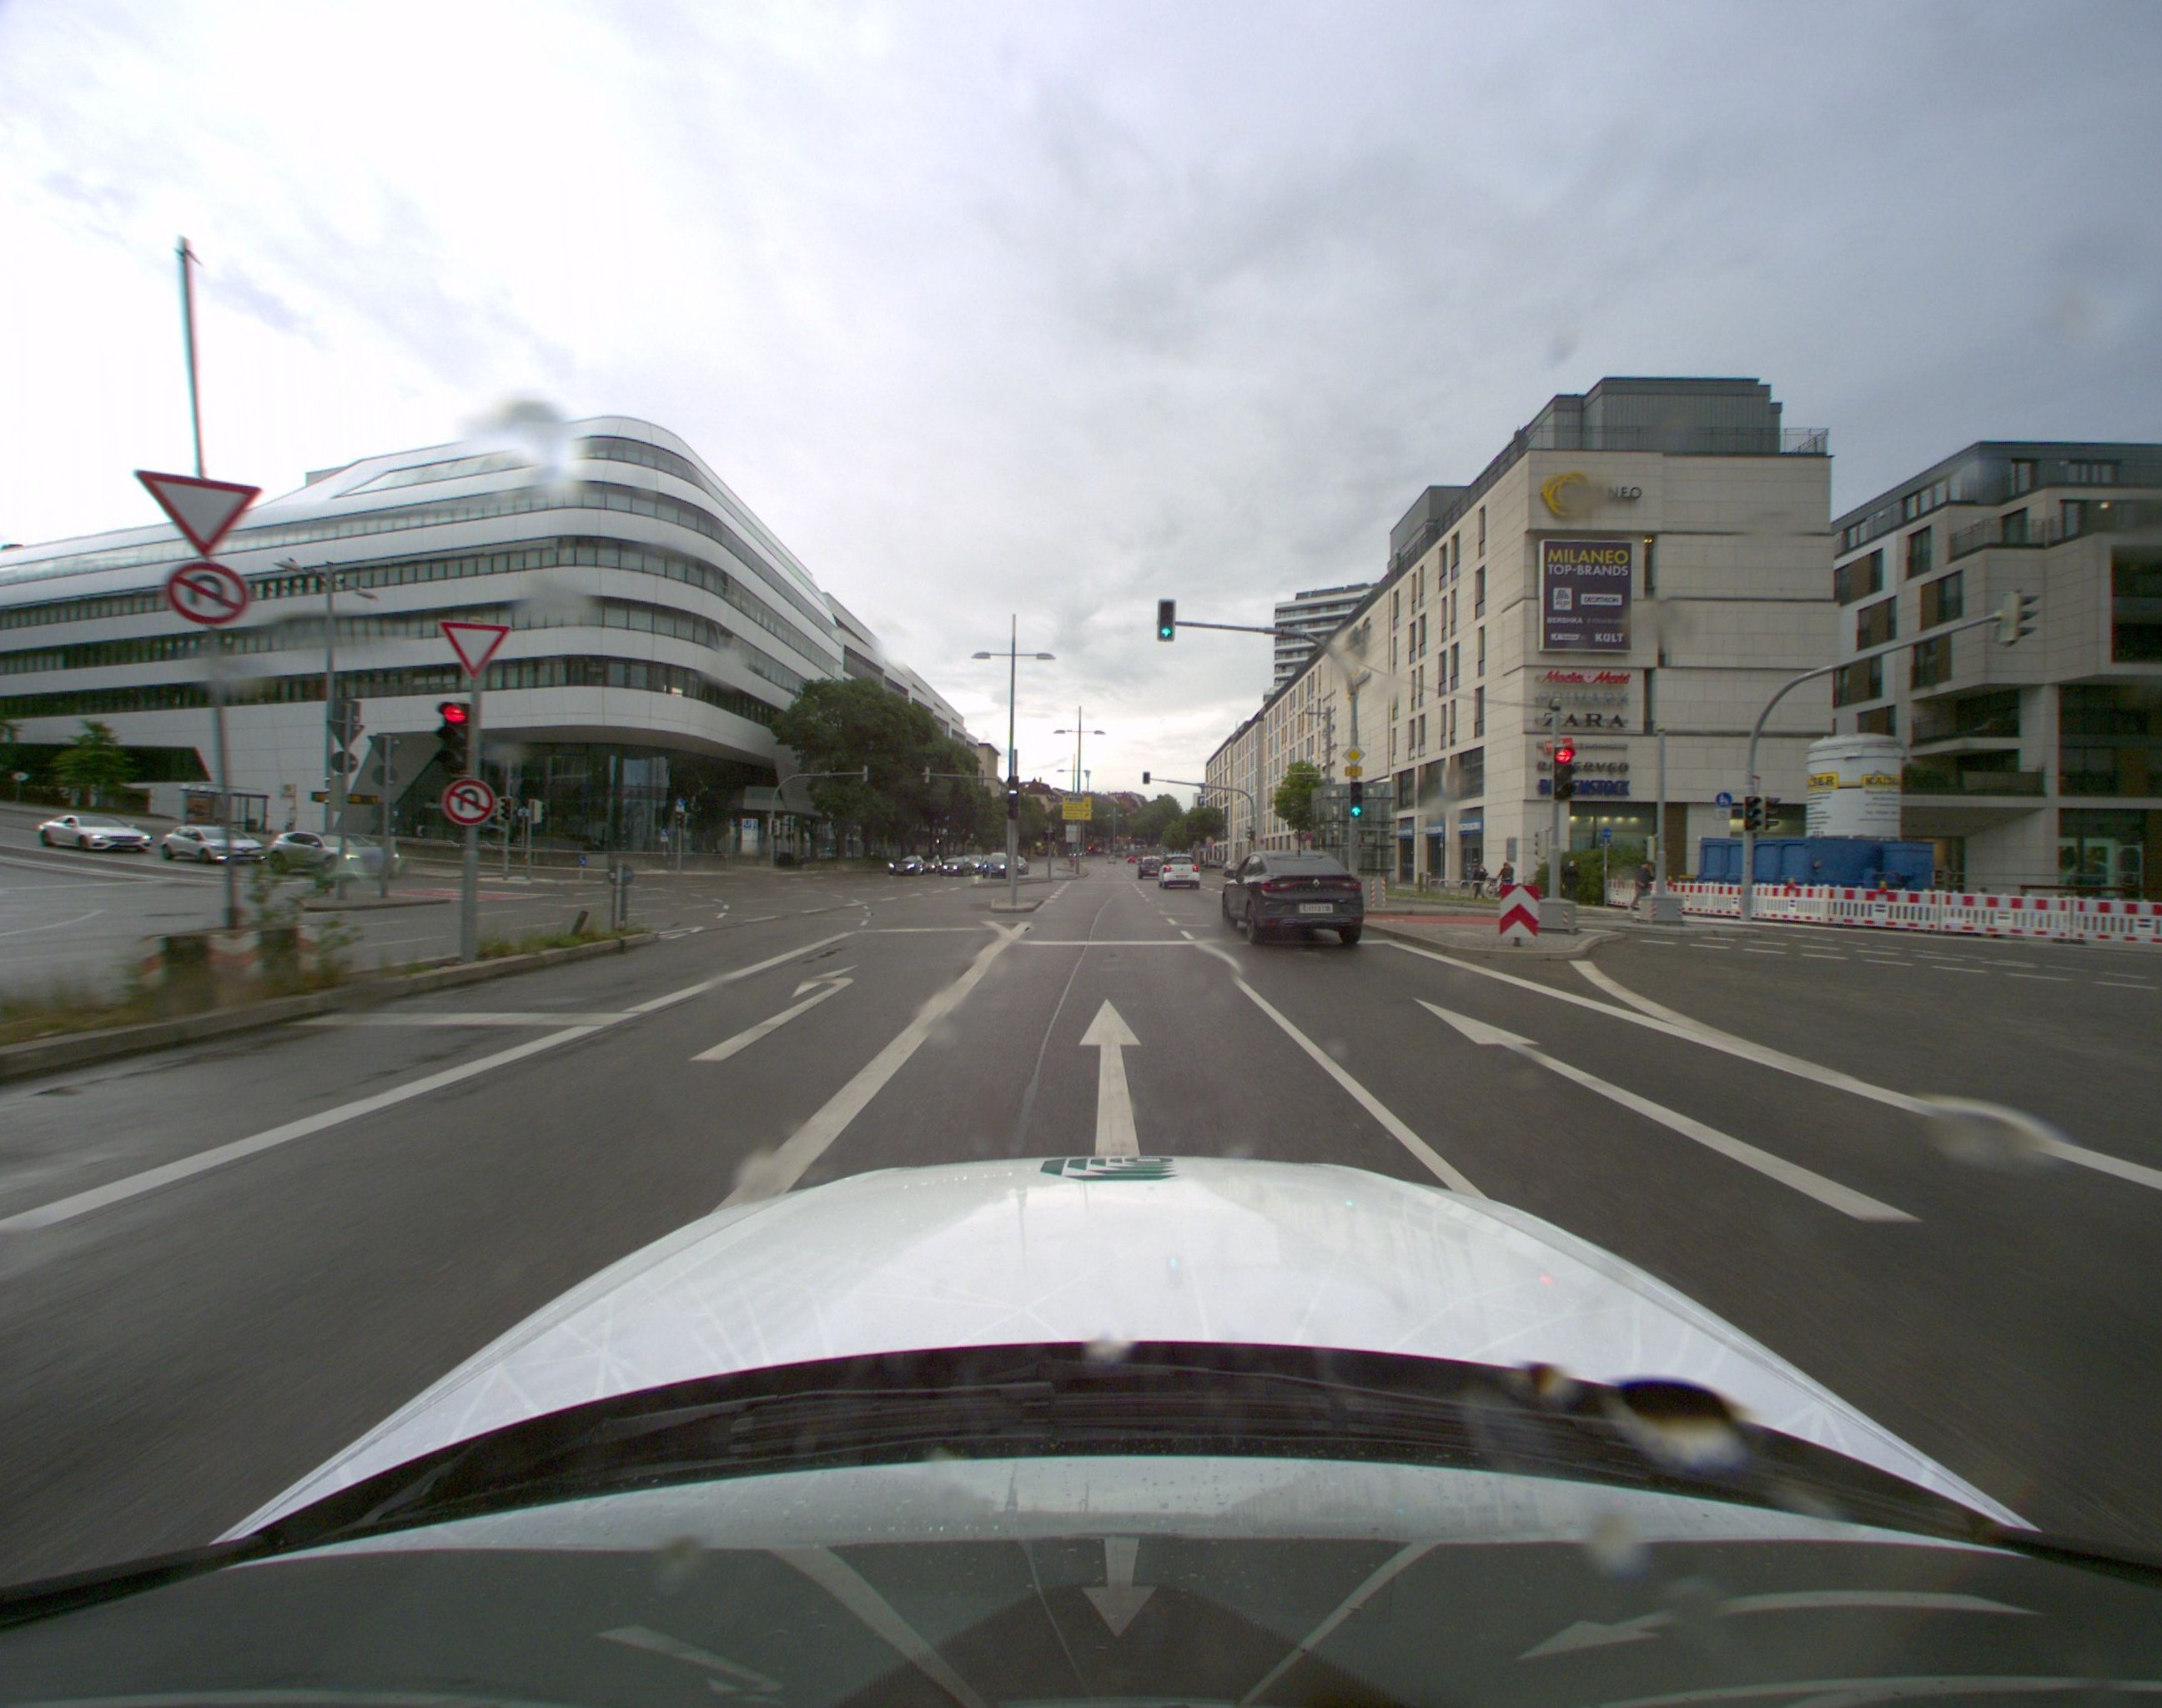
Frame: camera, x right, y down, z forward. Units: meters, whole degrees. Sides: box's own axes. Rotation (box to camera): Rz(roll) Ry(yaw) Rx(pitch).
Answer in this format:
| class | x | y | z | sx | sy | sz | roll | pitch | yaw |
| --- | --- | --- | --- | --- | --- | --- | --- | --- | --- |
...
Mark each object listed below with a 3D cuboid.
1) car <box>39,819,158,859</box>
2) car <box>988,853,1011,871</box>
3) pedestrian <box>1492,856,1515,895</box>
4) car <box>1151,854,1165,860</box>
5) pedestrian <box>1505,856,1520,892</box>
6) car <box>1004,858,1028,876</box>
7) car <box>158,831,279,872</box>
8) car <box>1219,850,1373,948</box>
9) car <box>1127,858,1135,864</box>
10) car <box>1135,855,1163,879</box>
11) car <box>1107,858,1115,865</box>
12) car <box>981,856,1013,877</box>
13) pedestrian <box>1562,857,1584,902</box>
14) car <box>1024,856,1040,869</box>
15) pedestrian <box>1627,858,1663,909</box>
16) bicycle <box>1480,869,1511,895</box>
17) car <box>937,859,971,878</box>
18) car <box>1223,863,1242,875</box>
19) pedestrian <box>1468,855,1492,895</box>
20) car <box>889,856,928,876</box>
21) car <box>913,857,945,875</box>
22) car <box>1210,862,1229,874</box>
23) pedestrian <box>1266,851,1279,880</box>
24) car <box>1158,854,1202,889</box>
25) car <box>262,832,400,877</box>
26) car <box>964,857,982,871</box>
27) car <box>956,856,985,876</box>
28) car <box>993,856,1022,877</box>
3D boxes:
| class | x | y | z | sx | sy | sz | roll | pitch | yaw |
| --- | --- | --- | --- | --- | --- | --- | --- | --- | --- |
| car | -42.790 | -0.654 | 35.477 | 3.955 | 1.631 | 1.903 | 1 | -1 | 18 |
| car | -8.107 | 0.766 | 81.123 | 1.736 | 1.748 | 3.541 | 0 | -1 | 2 |
| pedestrian | 17.426 | 0.882 | 33.592 | 0.548 | 1.611 | 0.698 | 0 | -1 | 2 |
| car | 21.781 | 0.822 | 230.610 | 3.795 | 1.531 | 1.742 | 0 | 0 | -5 |
| pedestrian | 20.068 | 0.935 | 37.895 | 0.588 | 1.642 | 0.591 | -1 | -1 | 26 |
| car | -5.492 | 1.086 | 69.031 | 1.532 | 1.477 | 3.698 | 0 | -1 | 2 |
| car | -35.877 | -0.086 | 33.891 | 3.955 | 1.631 | 1.903 | -1 | -1 | 18 |
| car | 3.695 | 0.691 | 14.783 | 1.784 | 1.506 | 4.341 | 0 | 0 | 2 |
| car | 12.045 | 1.697 | 195.799 | 1.733 | 1.531 | 3.815 | 0 | -1 | 2 |
| car | 4.599 | 0.877 | 55.285 | 1.733 | 1.531 | 3.815 | 0 | -1 | 2 |
| car | 6.777 | 1.695 | 183.930 | 1.733 | 1.531 | 3.815 | 0 | 0 | 2 |
| car | -5.860 | 0.869 | 57.133 | 1.736 | 1.444 | 3.396 | 0 | -1 | 2 |
| pedestrian | 19.576 | 1.015 | 32.382 | 0.442 | 1.780 | 0.590 | 0 | -1 | -26 |
| car | -6.354 | 1.141 | 106.442 | 1.736 | 1.748 | 3.541 | 0 | -1 | 2 |
| pedestrian | 18.813 | 0.965 | 27.163 | 0.619 | 1.672 | 0.824 | 0 | -1 | 2 |
| bicycle | 17.132 | 1.153 | 33.672 | 0.447 | 1.016 | 1.743 | 0 | -1 | 3 |
| car | -9.075 | 1.016 | 58.399 | 1.736 | 1.257 | 3.541 | 1 | 0 | 2 |
| car | 16.541 | 1.648 | 89.108 | 1.500 | 1.266 | 3.504 | 0 | -1 | 2 |
| pedestrian | 16.406 | 0.846 | 33.509 | 0.610 | 1.611 | 0.819 | 0 | -1 | 2 |
| car | -11.997 | 0.869 | 56.854 | 1.736 | 1.328 | 4.227 | 0 | -1 | 2 |
| car | -12.144 | 0.942 | 65.146 | 1.736 | 1.424 | 3.541 | 0 | -1 | 2 |
| car | 16.078 | 1.644 | 94.606 | 1.655 | 1.400 | 3.834 | 0 | -1 | 2 |
| pedestrian | 12.025 | 0.732 | 51.184 | 0.724 | 1.832 | 0.510 | 0 | -1 | 1 |
| car | 4.509 | 0.791 | 37.568 | 1.718 | 1.531 | 3.815 | 0 | -1 | 2 |
| car | -28.697 | 0.059 | 31.182 | 4.466 | 1.631 | 1.903 | -1 | -1 | 18 |
| car | -13.833 | 1.243 | 104.824 | 1.736 | 1.748 | 3.541 | 0 | -1 | 2 |
| car | -8.801 | 0.996 | 65.314 | 1.736 | 1.559 | 3.541 | 0 | -1 | 2 |
| car | -5.739 | 0.971 | 63.957 | 1.696 | 1.559 | 4.246 | 0 | -1 | 2 |
